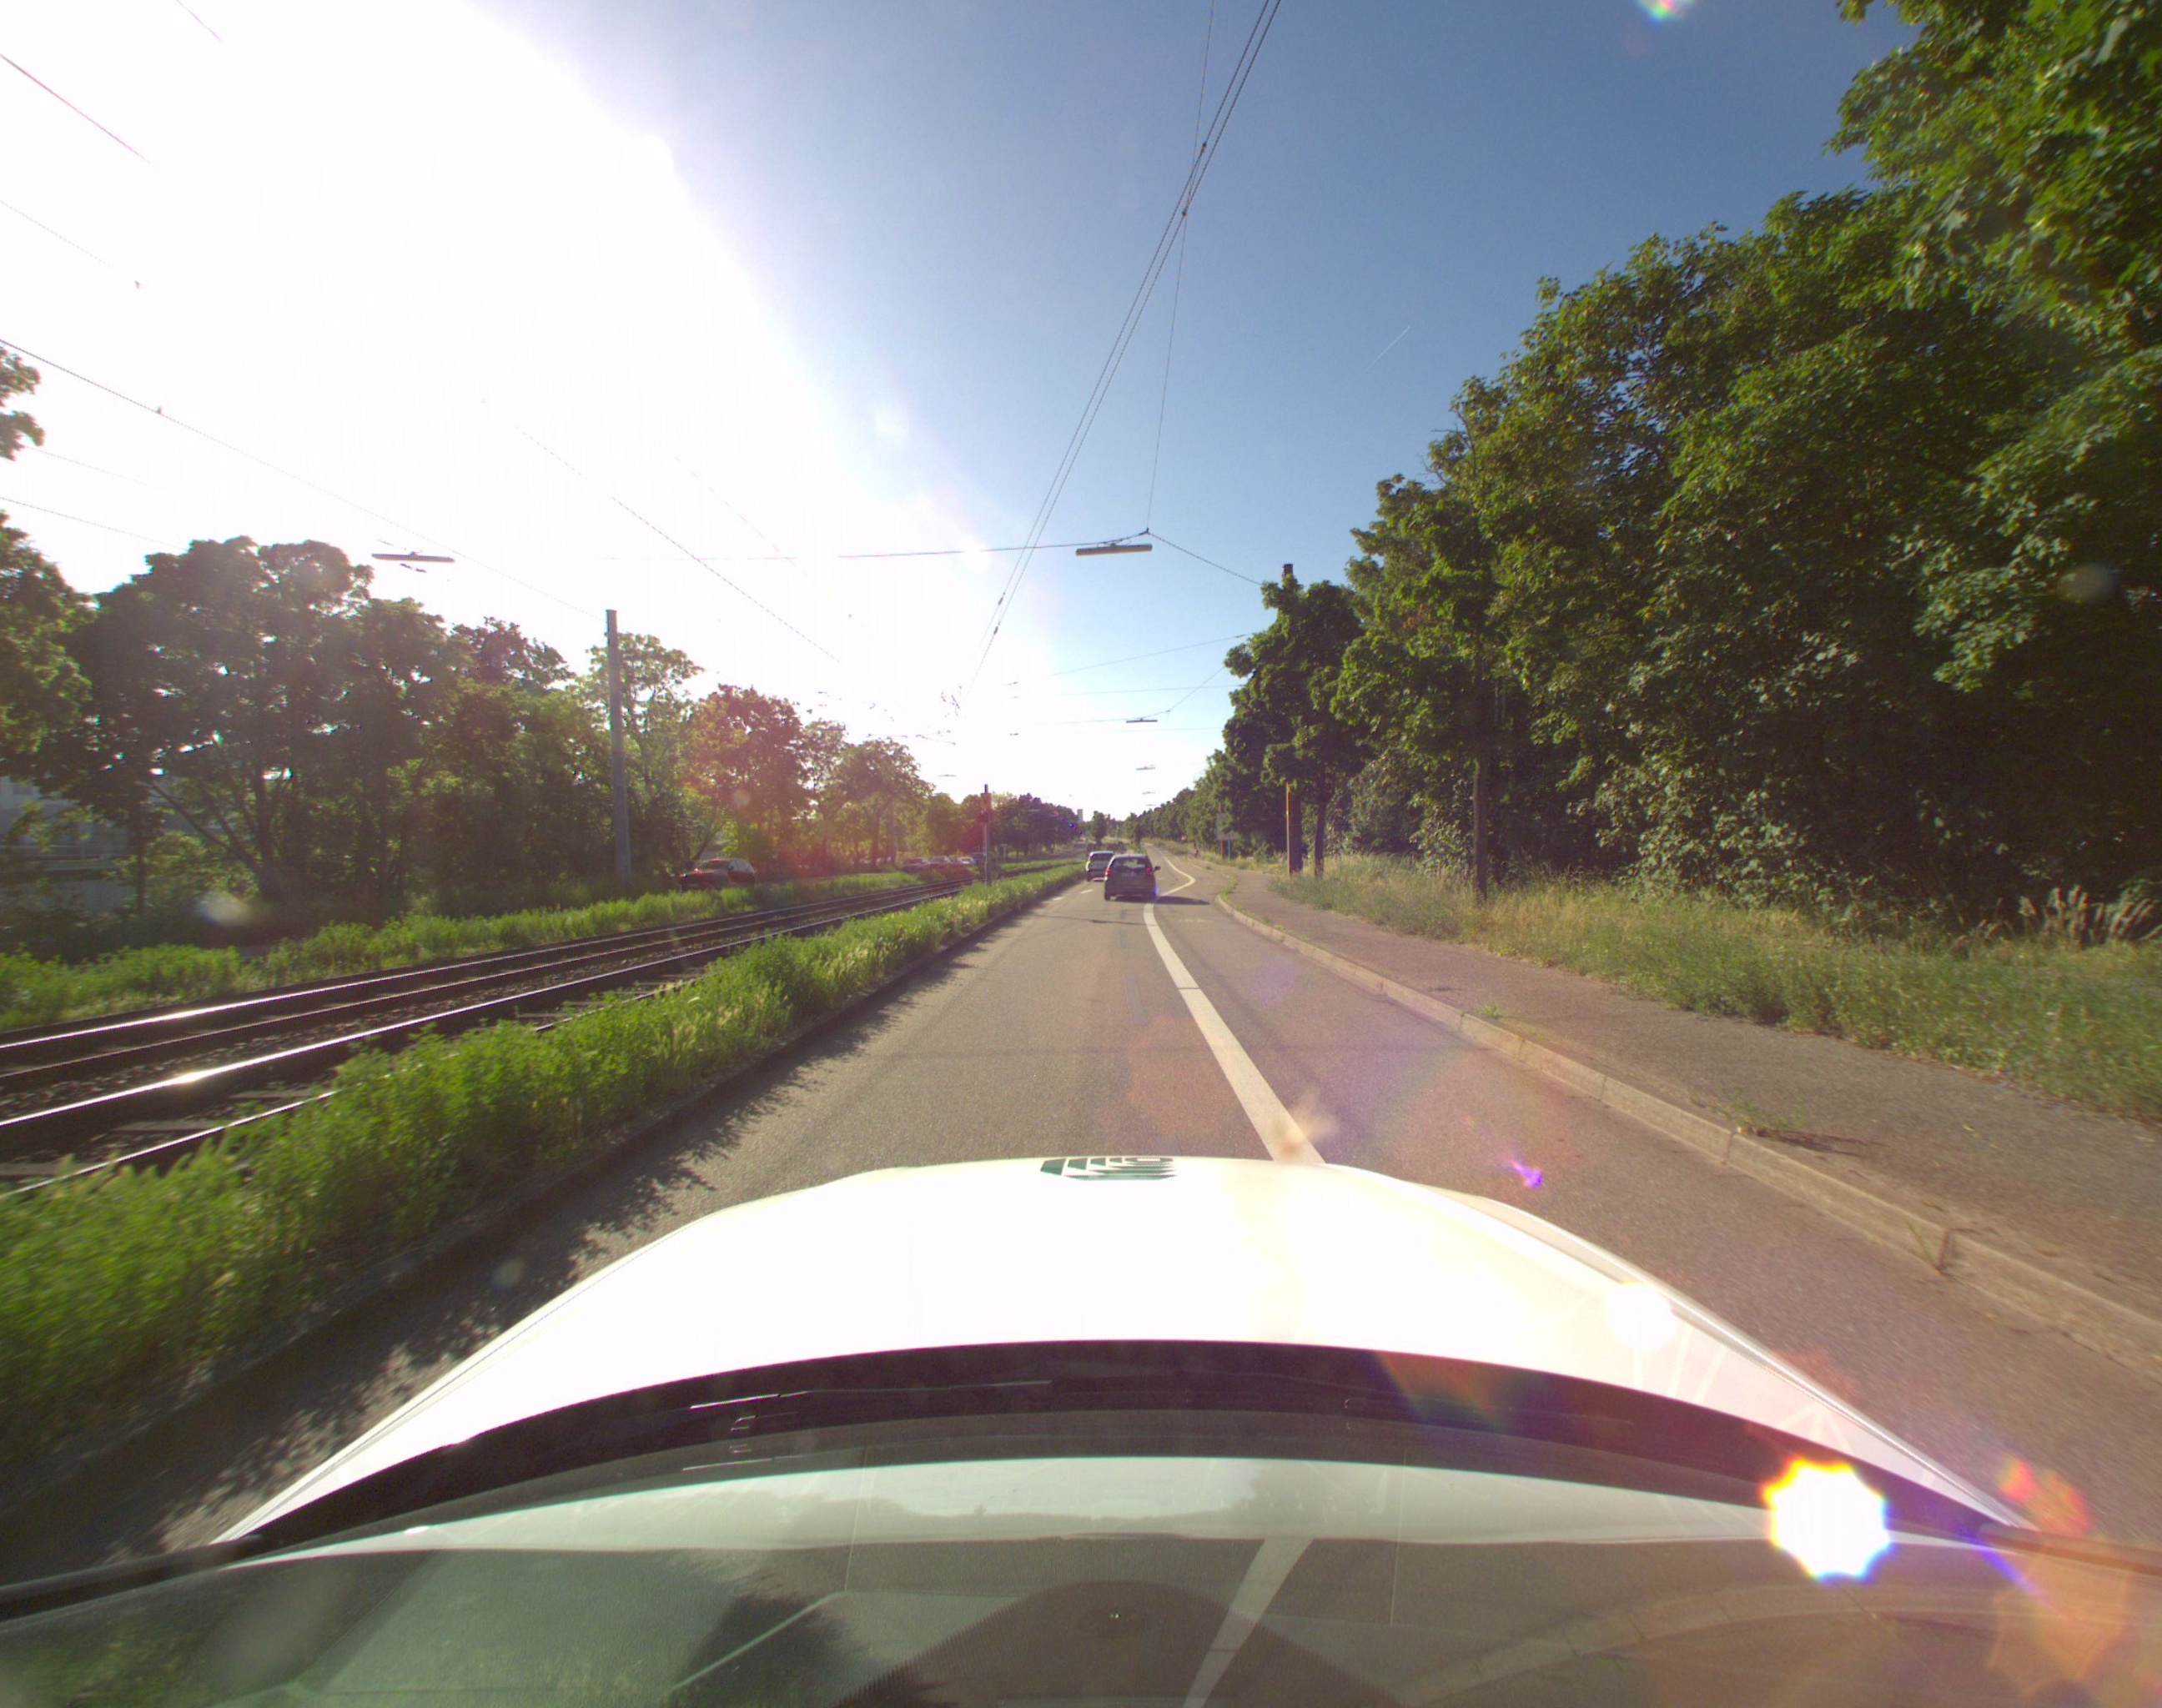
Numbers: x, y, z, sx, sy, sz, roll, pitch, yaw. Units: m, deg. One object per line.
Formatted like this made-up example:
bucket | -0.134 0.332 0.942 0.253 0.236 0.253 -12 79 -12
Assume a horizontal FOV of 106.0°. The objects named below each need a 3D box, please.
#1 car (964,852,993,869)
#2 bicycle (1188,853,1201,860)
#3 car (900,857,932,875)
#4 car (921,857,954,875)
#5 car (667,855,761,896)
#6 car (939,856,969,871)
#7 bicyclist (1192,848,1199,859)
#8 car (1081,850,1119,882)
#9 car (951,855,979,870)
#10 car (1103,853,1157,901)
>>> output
car | -12.166 0.754 96.674 2.185 1.891 4.801 -1 0 7
bicycle | 17.912 0.403 128.638 1.905 0.998 0.767 -4 -1 16
car | -14.469 1.008 71.649 1.728 1.494 4.332 0 0 3
car | -13.770 1.138 78.396 1.985 1.574 4.440 -1 0 4
car | -16.753 0.929 37.455 1.995 1.702 4.472 -1 0 4
car | -13.102 0.997 84.316 1.984 1.437 4.422 -1 0 6
bicyclist | 18.090 -0.080 128.584 0.903 1.745 0.767 -3 -1 16
car | 1.101 0.626 44.576 1.842 1.606 4.259 -1 0 4
car | -12.851 0.931 90.328 1.919 1.437 4.702 -1 0 6
car | 1.692 0.730 28.083 1.699 1.509 4.004 -1 0 4
